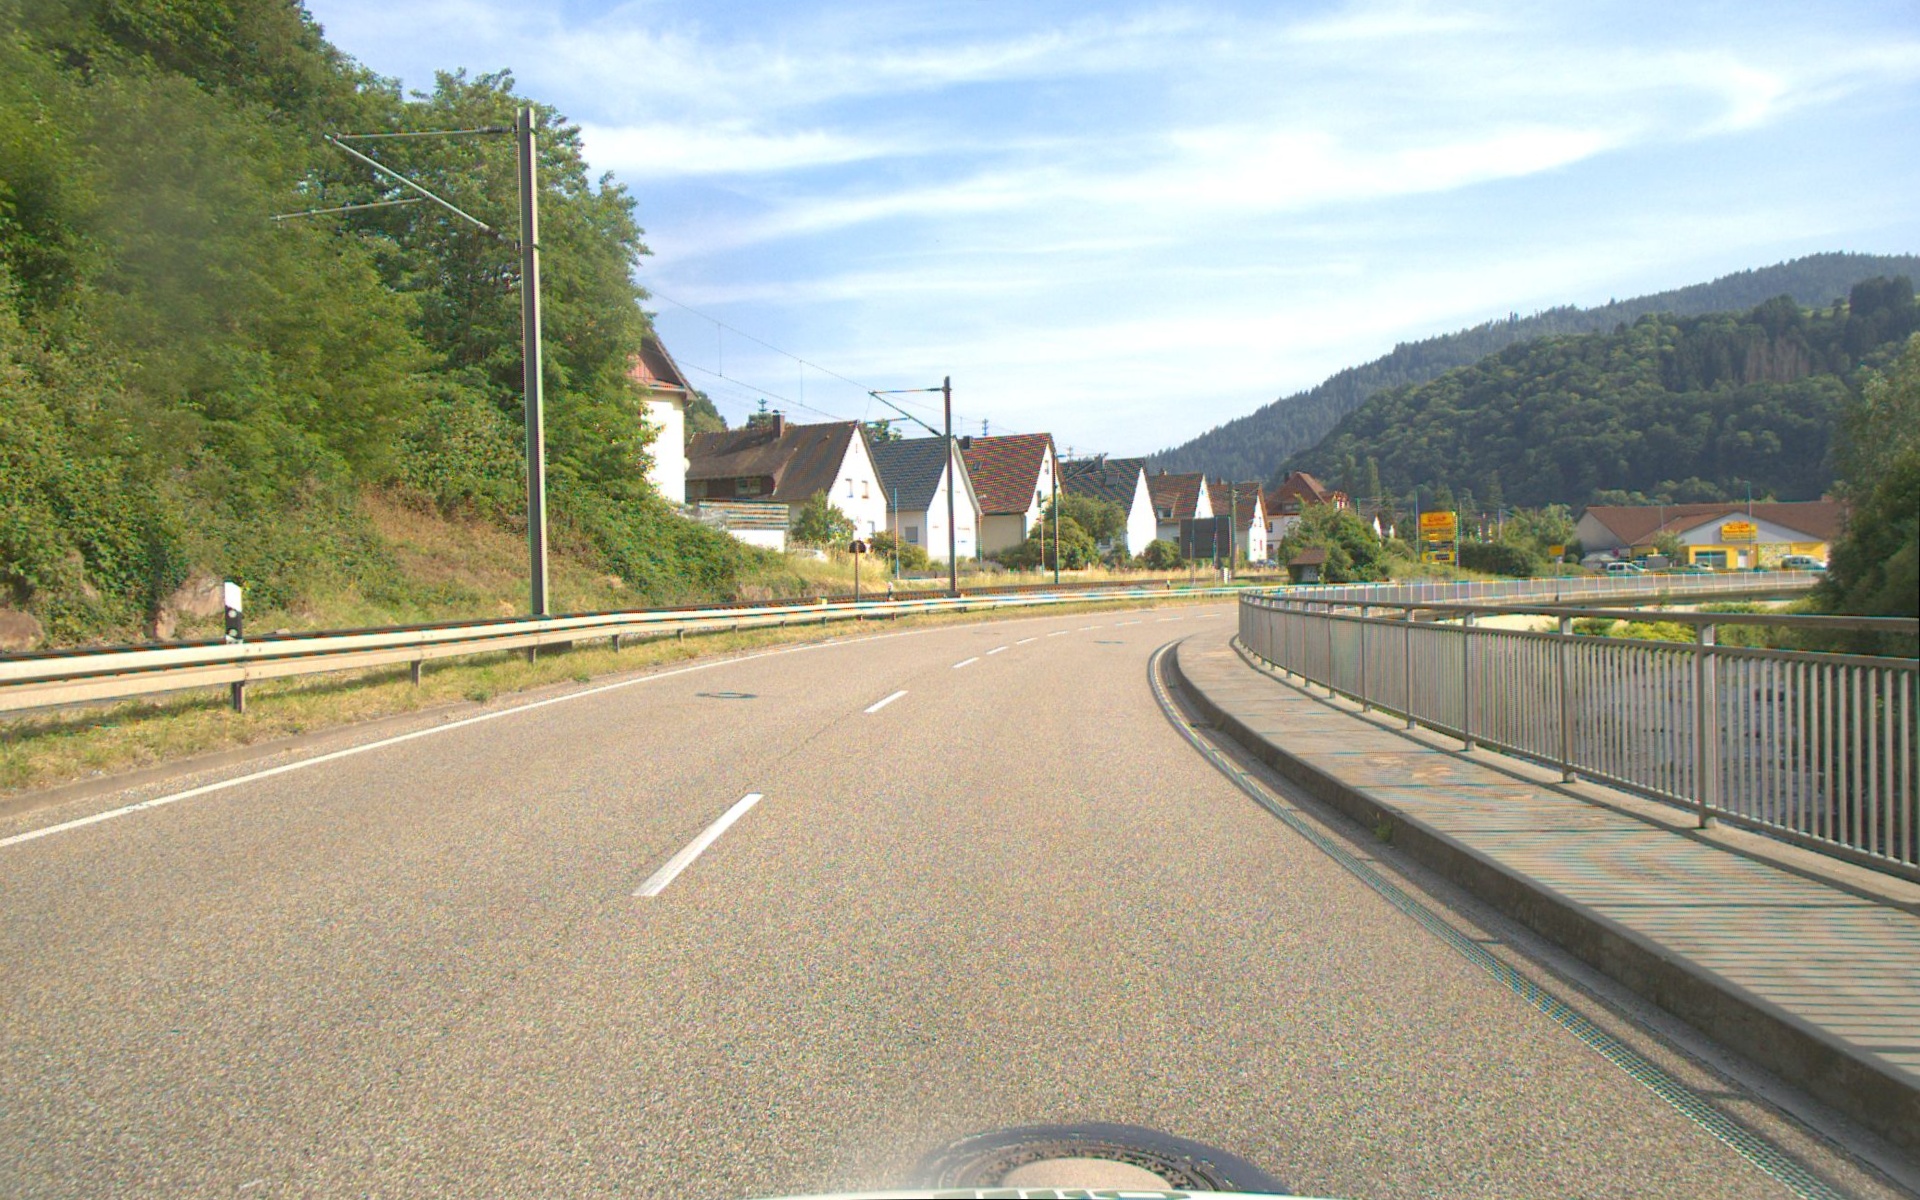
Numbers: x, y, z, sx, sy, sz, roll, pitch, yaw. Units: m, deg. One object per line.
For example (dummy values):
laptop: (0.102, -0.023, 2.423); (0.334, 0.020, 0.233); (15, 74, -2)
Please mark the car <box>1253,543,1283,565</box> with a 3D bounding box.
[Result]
car: (30.240, -4.482, 162.290); (1.954, 1.913, 3.999); (6, 3, 22)
